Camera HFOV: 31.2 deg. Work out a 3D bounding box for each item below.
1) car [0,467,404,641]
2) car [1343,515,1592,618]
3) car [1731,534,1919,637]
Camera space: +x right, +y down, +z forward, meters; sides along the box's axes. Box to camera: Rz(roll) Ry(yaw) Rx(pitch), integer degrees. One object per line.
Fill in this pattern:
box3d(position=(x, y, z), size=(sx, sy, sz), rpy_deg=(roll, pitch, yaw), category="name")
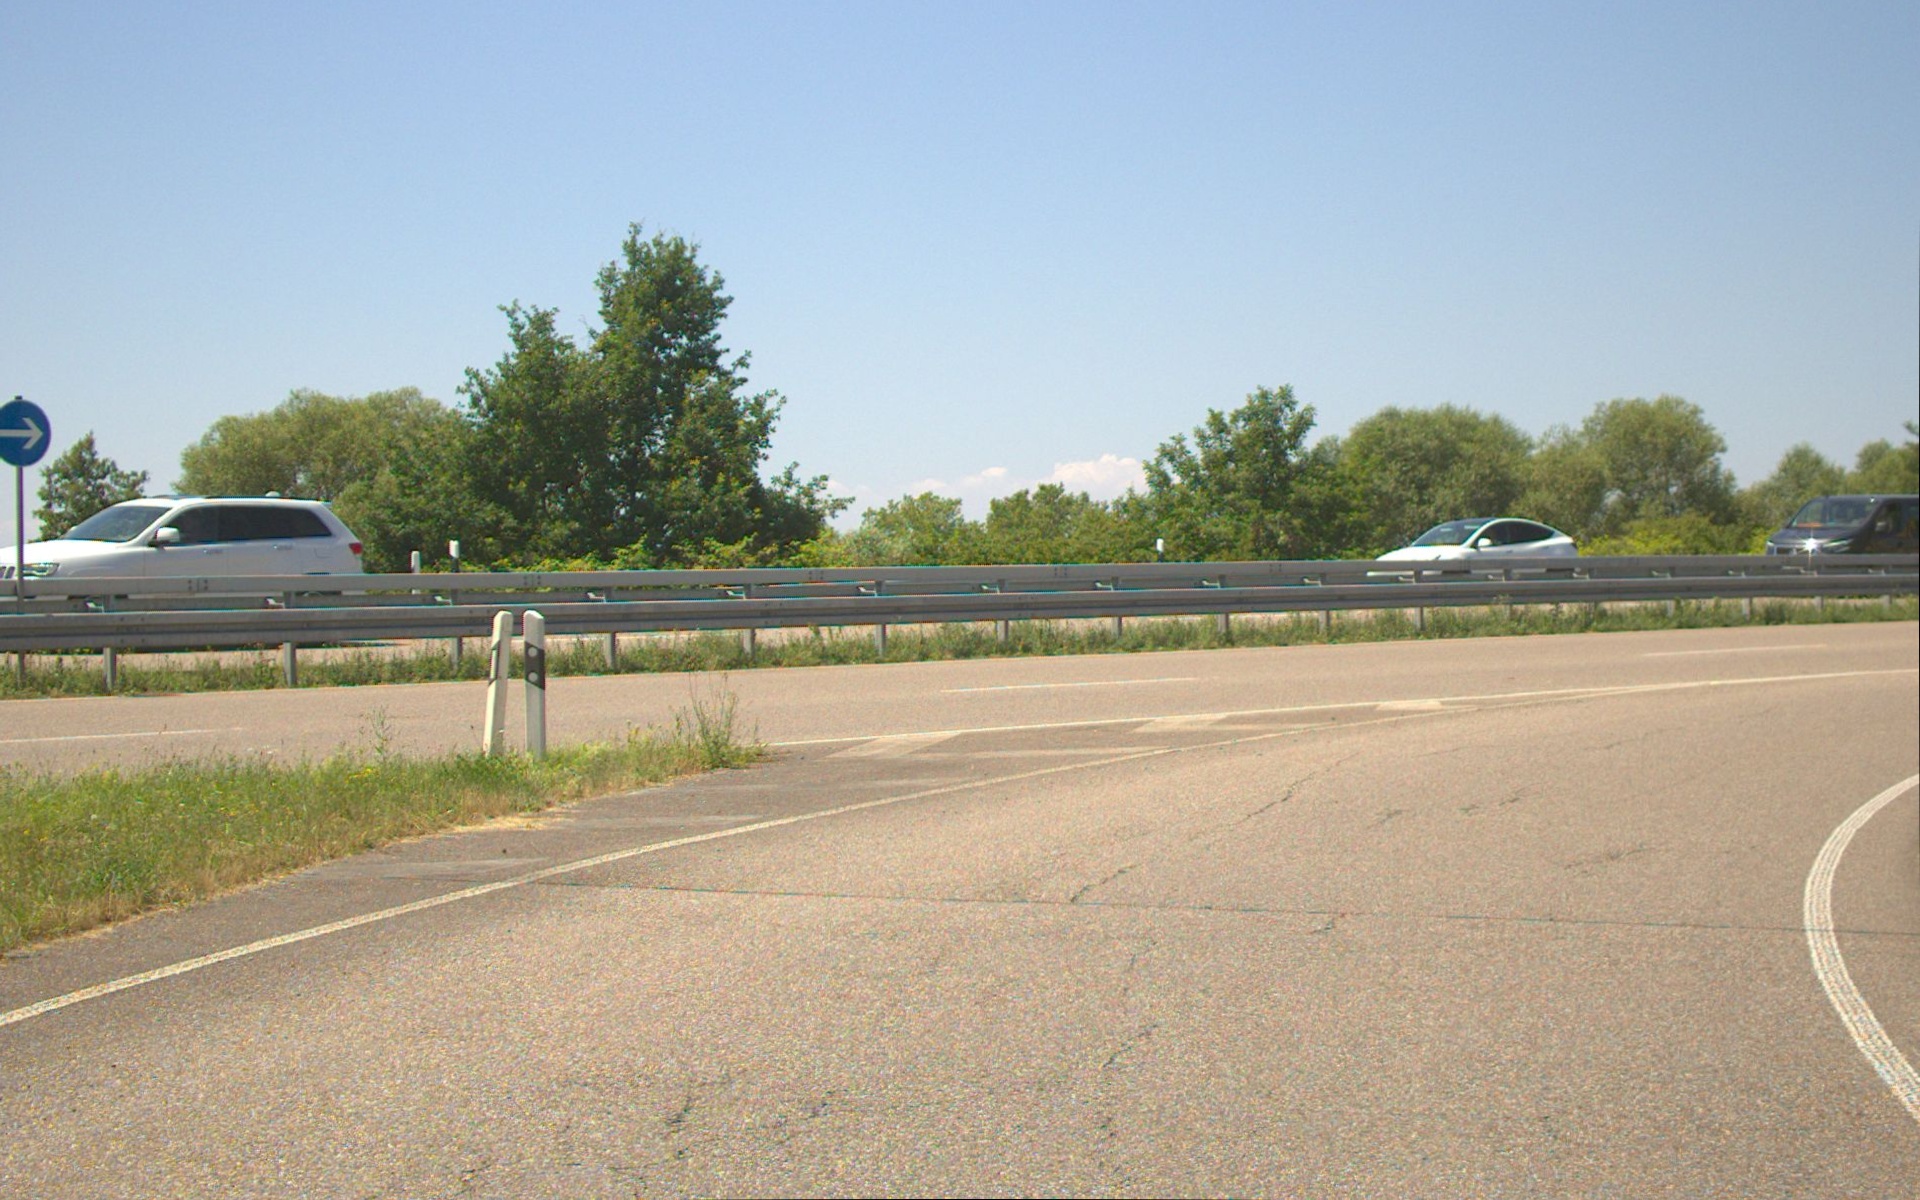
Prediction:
box3d(position=(-9.047, -0.490, 39.893), size=(1.999, 1.886, 4.899), rpy_deg=(1, 0, 43), category="car")
box3d(position=(9.903, -0.629, 66.870), size=(4.897, 1.886, 1.940), rpy_deg=(1, 0, -39), category="car")
box3d(position=(17.138, -0.268, 65.869), size=(4.898, 1.886, 2.210), rpy_deg=(1, 0, -43), category="car")
